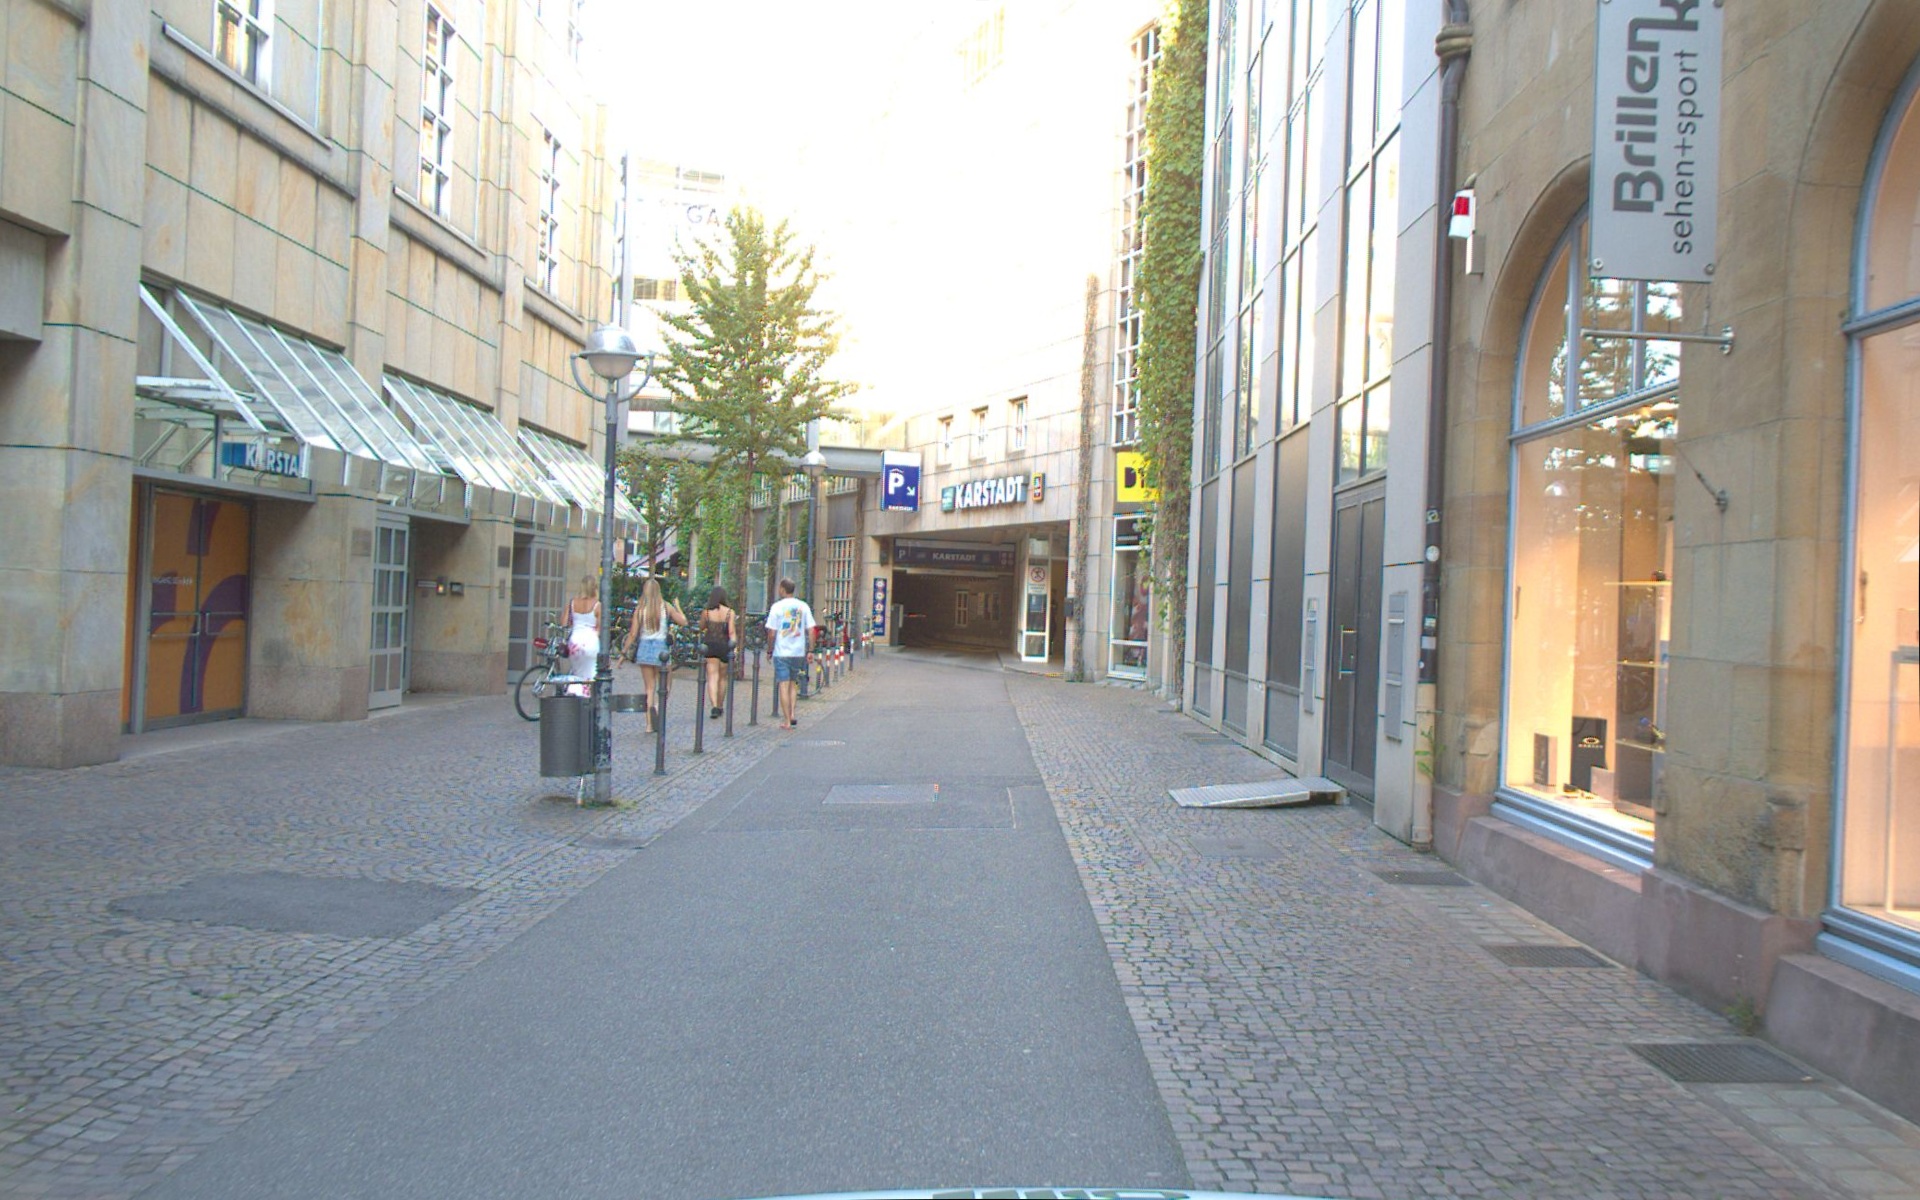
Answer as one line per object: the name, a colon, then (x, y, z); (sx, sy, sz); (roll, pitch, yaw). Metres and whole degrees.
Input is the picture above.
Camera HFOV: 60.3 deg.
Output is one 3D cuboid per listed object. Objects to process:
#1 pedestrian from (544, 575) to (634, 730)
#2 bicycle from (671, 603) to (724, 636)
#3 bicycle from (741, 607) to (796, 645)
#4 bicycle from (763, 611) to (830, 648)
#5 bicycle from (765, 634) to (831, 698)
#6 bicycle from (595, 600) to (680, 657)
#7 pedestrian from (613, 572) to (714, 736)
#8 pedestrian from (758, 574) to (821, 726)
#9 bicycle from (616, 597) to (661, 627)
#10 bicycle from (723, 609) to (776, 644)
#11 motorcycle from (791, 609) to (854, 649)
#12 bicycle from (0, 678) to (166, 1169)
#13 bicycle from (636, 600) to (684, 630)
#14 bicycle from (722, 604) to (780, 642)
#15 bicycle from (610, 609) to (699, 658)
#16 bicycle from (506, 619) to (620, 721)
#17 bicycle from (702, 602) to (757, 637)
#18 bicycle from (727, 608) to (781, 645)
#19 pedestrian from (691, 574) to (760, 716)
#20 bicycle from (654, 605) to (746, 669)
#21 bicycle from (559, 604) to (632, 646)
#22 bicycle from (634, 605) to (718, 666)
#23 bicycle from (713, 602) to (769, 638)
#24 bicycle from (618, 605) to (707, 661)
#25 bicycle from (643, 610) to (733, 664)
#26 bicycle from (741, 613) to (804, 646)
pedestrian: (-4.212, 0.583, 18.813); (0.660, 1.693, 0.861); (2, 0, 10)
bicycle: (-9.202, 0.680, 57.965); (1.747, 1.134, 0.539); (1, 0, -21)
bicycle: (-5.655, 0.772, 48.856); (1.517, 1.067, 0.572); (1, 0, -21)
bicycle: (-4.657, 0.837, 47.088); (1.821, 0.999, 0.461); (1, 0, -21)
bicycle: (-2.614, 1.055, 26.872); (0.482, 0.955, 1.660); (3, 0, 15)
bicycle: (-7.329, 0.647, 37.611); (1.808, 1.246, 0.530); (1, 0, -23)
pedestrian: (-3.319, 0.589, 18.598); (0.789, 1.760, 0.949); (2, 0, 9)
pedestrian: (-2.140, 0.617, 20.786); (0.728, 1.854, 0.877); (1, 0, -6)
bicycle: (-13.405, 0.503, 68.900); (1.747, 1.211, 0.583); (1, 0, -21)
bicycle: (-6.518, 0.821, 51.248); (1.517, 1.067, 0.572); (1, 0, -21)
motorcycle: (-3.774, 0.799, 45.406); (1.639, 1.069, 0.461); (1, 0, -21)
bicycle: (-2.649, 0.830, 3.898); (0.522, 1.173, 1.915); (4, 0, 1)
bicycle: (-11.541, 0.581, 63.722); (1.746, 1.134, 0.540); (1, 0, -18)
bicycle: (-6.618, 0.728, 52.422); (1.747, 1.134, 0.539); (1, 0, -21)
bicycle: (-6.820, 0.746, 36.941); (1.868, 1.070, 0.530); (1, 0, -23)
bicycle: (-4.777, 0.823, 20.003); (0.510, 1.158, 1.765); (1, 0, 16)
bicycle: (-7.775, 0.643, 55.720); (1.747, 1.134, 0.539); (1, 0, -21)
bicycle: (-6.211, 0.804, 49.854); (1.517, 1.067, 0.572); (1, 0, -21)
pedestrian: (-3.111, 0.581, 21.871); (0.772, 1.826, 0.968); (2, 0, -14)
bicycle: (-5.229, 0.752, 33.299); (1.742, 1.252, 0.530); (1, 0, -23)
bicycle: (-9.506, 0.663, 43.137); (1.800, 1.061, 0.530); (1, 0, -23)
bicycle: (-5.935, 0.748, 34.572); (1.631, 1.252, 0.530); (1, 0, -23)
bicycle: (-7.238, 0.672, 54.693); (1.747, 1.134, 0.539); (1, 0, -21)
bicycle: (-6.544, 0.732, 36.413); (1.847, 1.198, 0.530); (1, 0, -23)
bicycle: (-5.826, 0.797, 35.464); (1.811, 1.142, 0.530); (1, 0, -23)
bicycle: (-5.443, 0.853, 47.932); (1.747, 0.920, 0.461); (1, 0, -21)
